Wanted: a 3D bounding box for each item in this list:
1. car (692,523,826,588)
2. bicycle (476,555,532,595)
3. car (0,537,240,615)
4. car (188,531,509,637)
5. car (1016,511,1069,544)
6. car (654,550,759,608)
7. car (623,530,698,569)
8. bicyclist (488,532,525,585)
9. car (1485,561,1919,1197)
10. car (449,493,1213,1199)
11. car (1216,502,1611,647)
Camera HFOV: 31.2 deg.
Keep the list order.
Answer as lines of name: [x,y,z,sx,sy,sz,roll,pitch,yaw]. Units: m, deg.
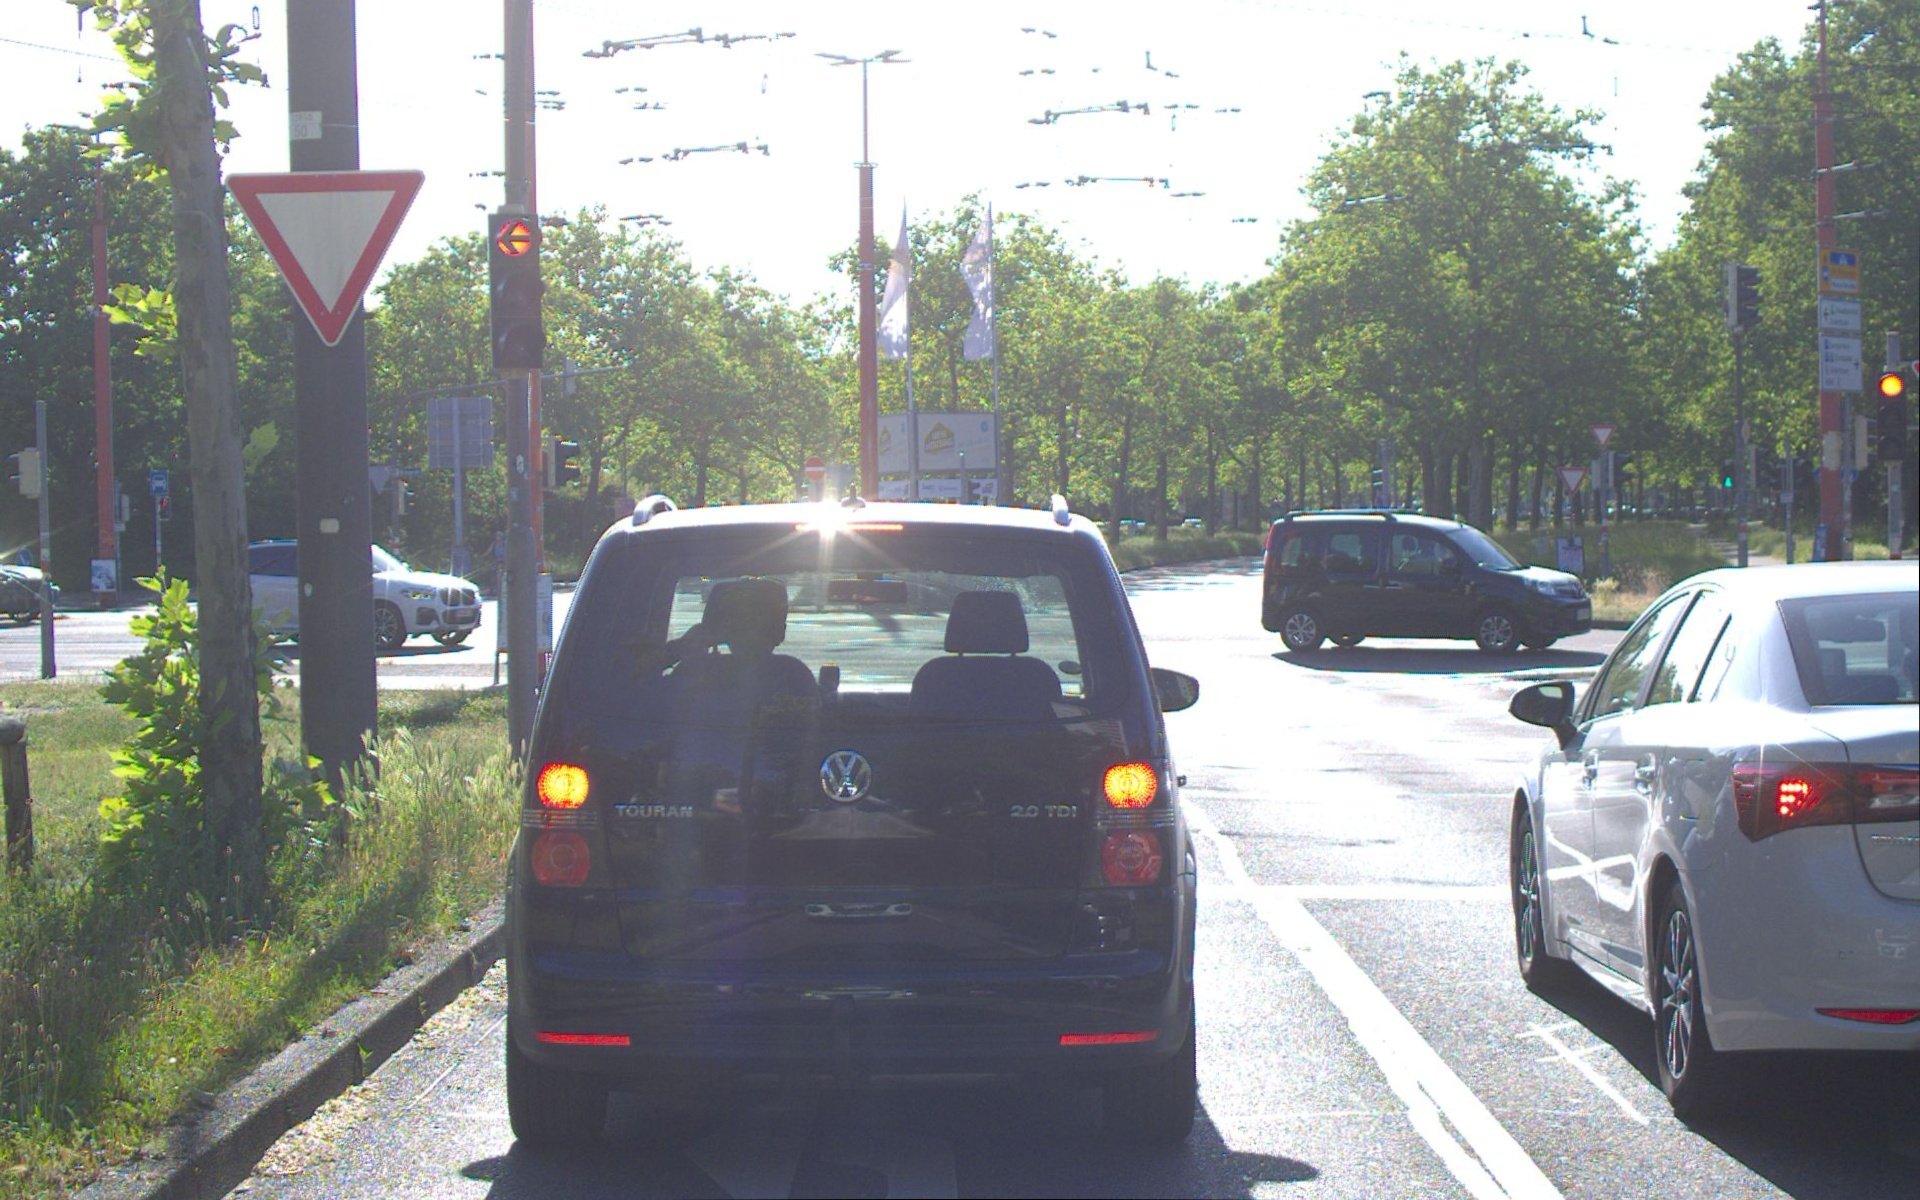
car: [-5.323,-1.199,91.703,1.995,1.679,4.825,0,1,17]
bicycle: [-12.517,-0.685,94.413,0.735,1.086,1.959,0,1,18]
car: [-16.187,-0.469,66.358,4.208,1.459,1.914,0,1,-1]
car: [-9.595,-0.264,53.887,4.787,1.592,1.911,0,1,27]
car: [4.411,-3.856,183.075,1.994,1.679,4.826,0,1,11]
car: [-7.651,-0.653,104.255,1.994,1.679,4.826,0,1,11]
car: [-10.238,-1.738,117.764,1.658,1.305,3.814,0,1,9]
bicyclist: [-12.486,-1.153,94.625,0.693,1.452,0.874,0,1,18]
car: [2.688,0.628,10.073,1.715,1.449,4.144,0,1,1]
car: [-0.316,0.544,9.872,1.737,1.635,4.000,0,1,-1]
car: [5.949,-0.347,45.233,4.787,1.829,1.911,0,1,27]
